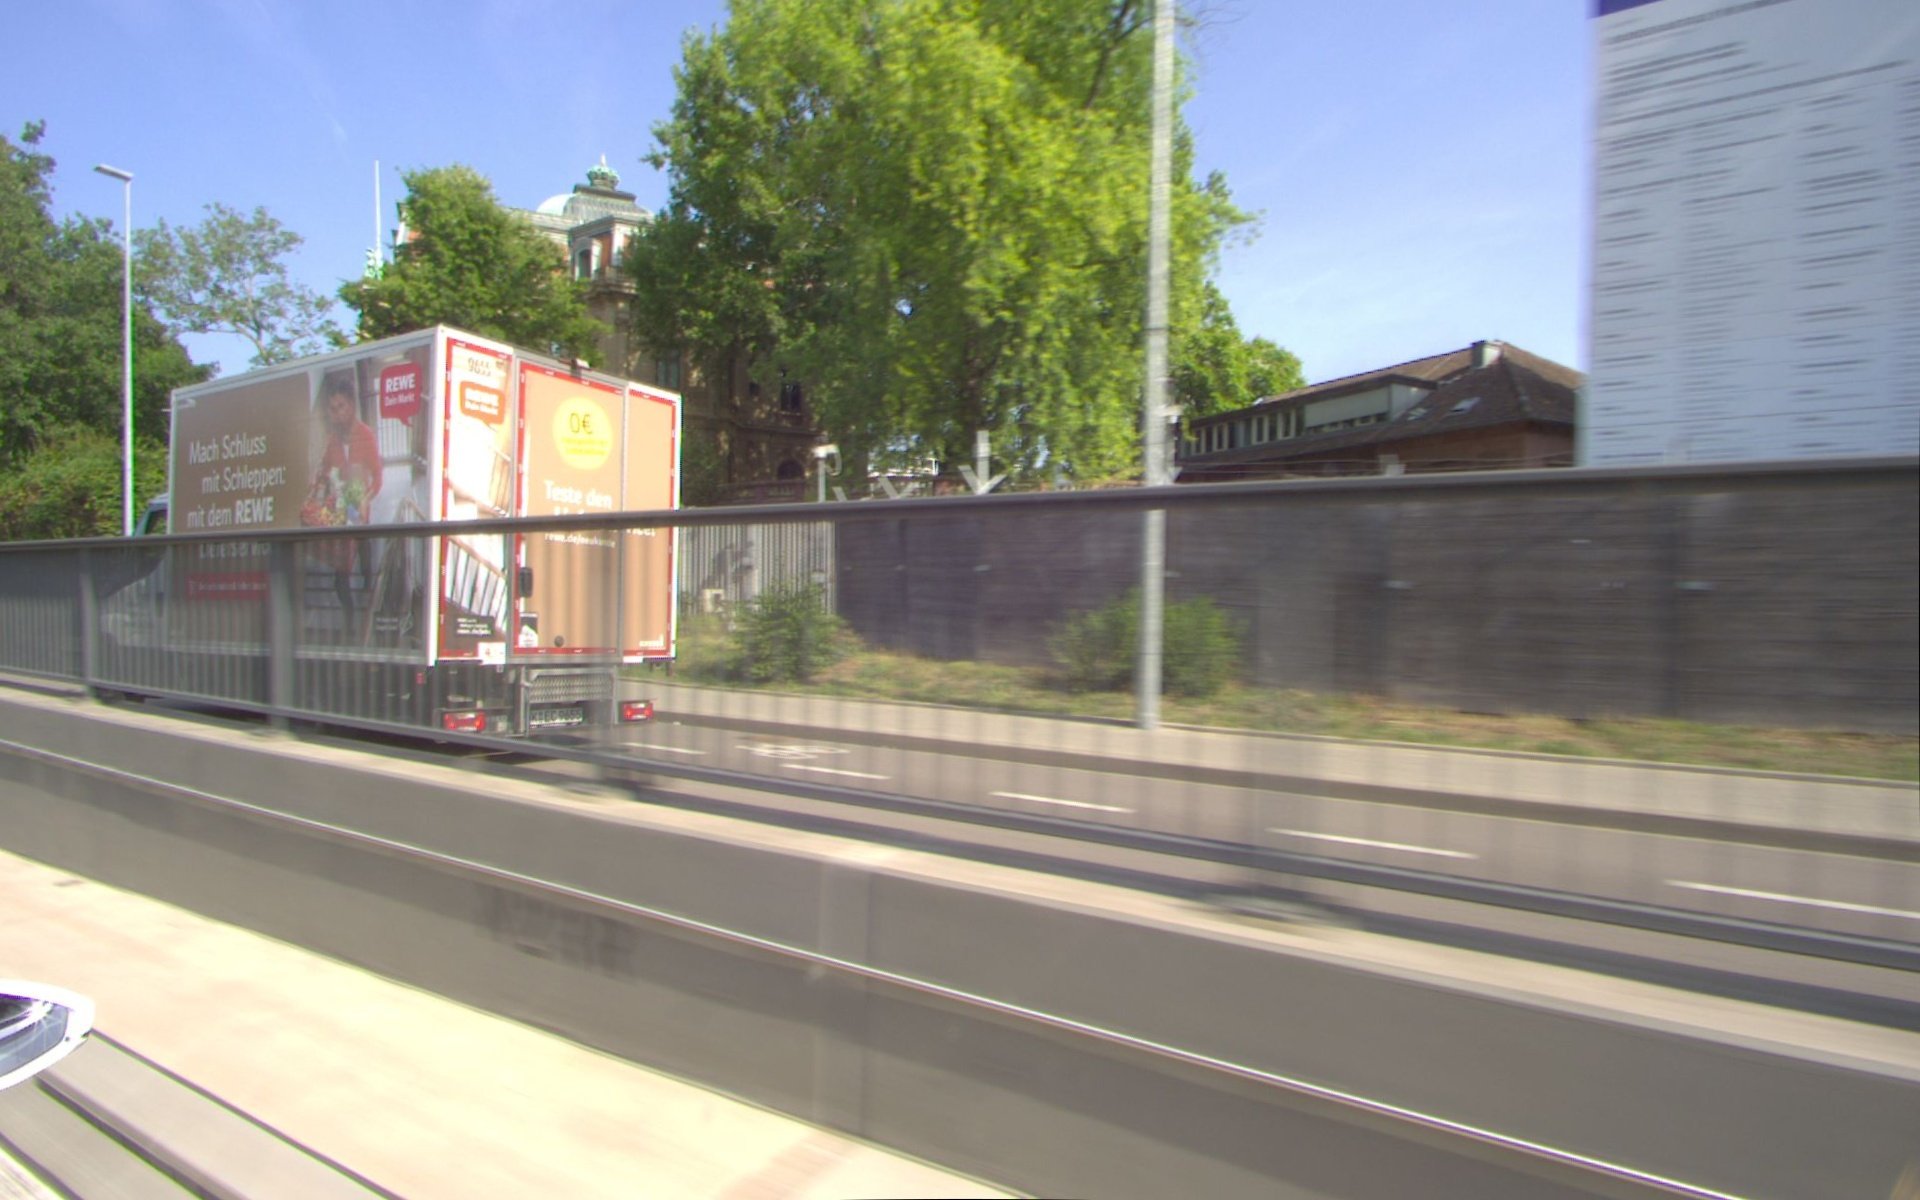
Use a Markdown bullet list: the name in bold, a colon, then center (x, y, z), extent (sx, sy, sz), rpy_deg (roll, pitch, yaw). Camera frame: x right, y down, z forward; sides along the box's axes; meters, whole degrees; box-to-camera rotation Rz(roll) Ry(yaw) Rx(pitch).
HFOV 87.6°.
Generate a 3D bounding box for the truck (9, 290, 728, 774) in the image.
- **truck**: center (-5.944, -0.416, 9.500), extent (7.705, 3.100, 2.499), rpy_deg (1, -2, 32)
